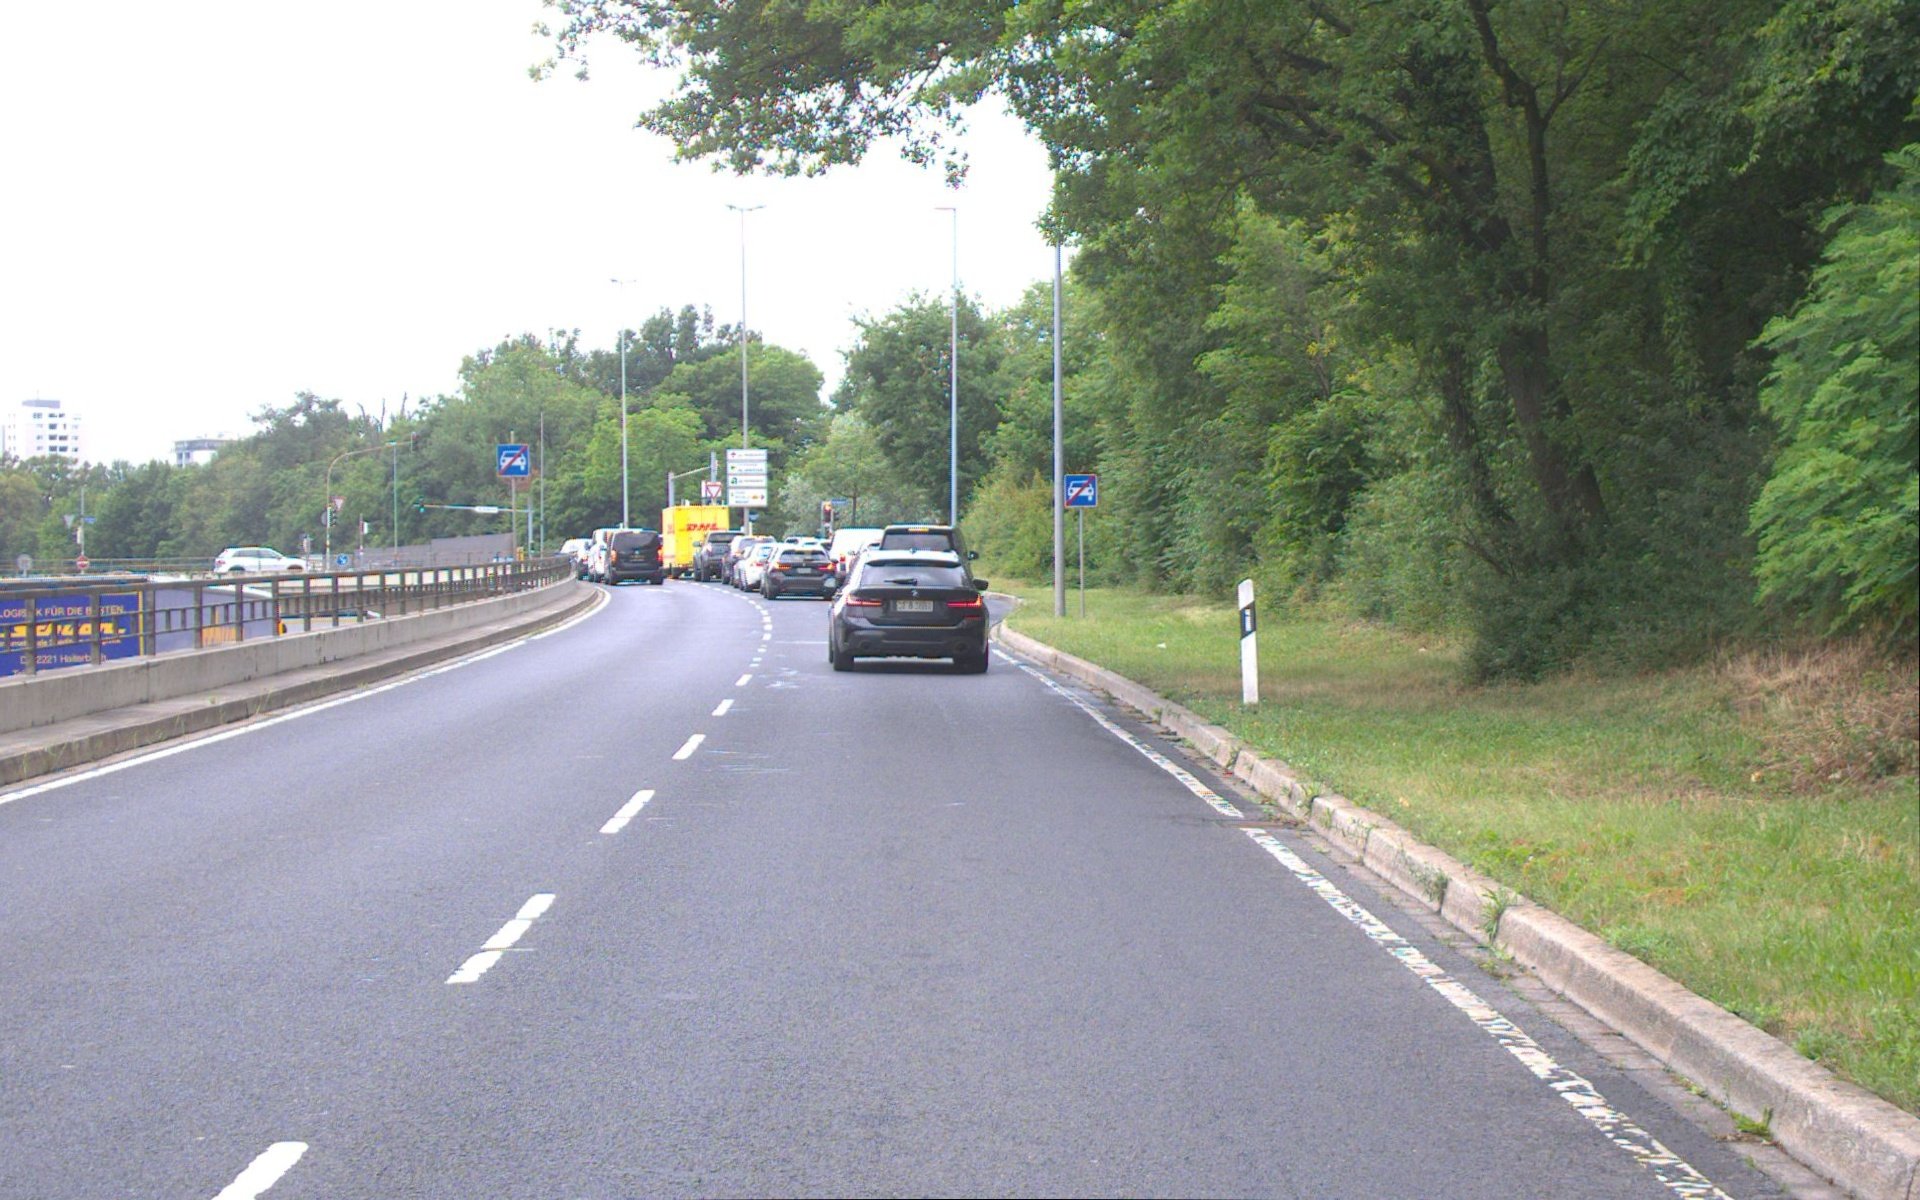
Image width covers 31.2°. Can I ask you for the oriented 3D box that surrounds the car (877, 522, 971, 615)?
[{"bbox_3d":[-0.756,-0.672,72.759,1.899,1.878,4.415,1,0,-1],"label":"car"}]

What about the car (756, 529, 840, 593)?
[{"bbox_3d":[-4.265,-1.018,89.858,1.884,1.587,4.431,1,0,-6],"label":"car"}]

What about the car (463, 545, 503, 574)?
[{"bbox_3d":[-29.078,-2.465,209.517,1.623,1.696,4.298,1,0,-19],"label":"car"}]

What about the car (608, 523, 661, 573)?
[{"bbox_3d":[-11.473,-1.834,121.067,1.623,1.696,4.297,1,0,-8],"label":"car"}]

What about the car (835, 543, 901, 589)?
[{"bbox_3d":[-2.887,-1.058,106.685,1.884,1.351,4.001,1,0,-4],"label":"car"}]

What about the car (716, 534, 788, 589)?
[{"bbox_3d":[-6.309,-1.165,103.921,1.884,1.587,4.431,1,0,-6],"label":"car"}]

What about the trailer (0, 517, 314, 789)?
[{"bbox_3d":[-13.795,0.752,59.326,2.851,4.023,16.007,-1,0,-2],"label":"trailer"}]

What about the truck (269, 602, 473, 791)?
[{"bbox_3d":[-14.068,2.129,83.489,2.850,4.023,15.579,-1,0,-2],"label":"truck"}]

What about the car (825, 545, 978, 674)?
[{"bbox_3d":[-0.736,0.077,41.483,1.748,1.421,4.462,0,2,-2],"label":"car"}]

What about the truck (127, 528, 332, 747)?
[{"bbox_3d":[-14.125,0.685,66.899,2.850,4.023,6.097,-1,0,-2],"label":"truck"}]

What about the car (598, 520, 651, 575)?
[{"bbox_3d":[-12.627,-1.959,129.146,1.884,1.981,4.431,1,0,-6],"label":"car"}]

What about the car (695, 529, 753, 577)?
[{"bbox_3d":[-8.674,-1.722,126.177,1.884,1.694,4.431,1,0,-6],"label":"car"}]

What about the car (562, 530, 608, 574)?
[{"bbox_3d":[-14.948,-1.885,136.899,1.623,1.696,4.297,1,0,-8],"label":"car"}]

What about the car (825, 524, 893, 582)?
[{"bbox_3d":[-3.435,-1.581,115.830,1.884,1.873,4.431,1,0,-6],"label":"car"}]
